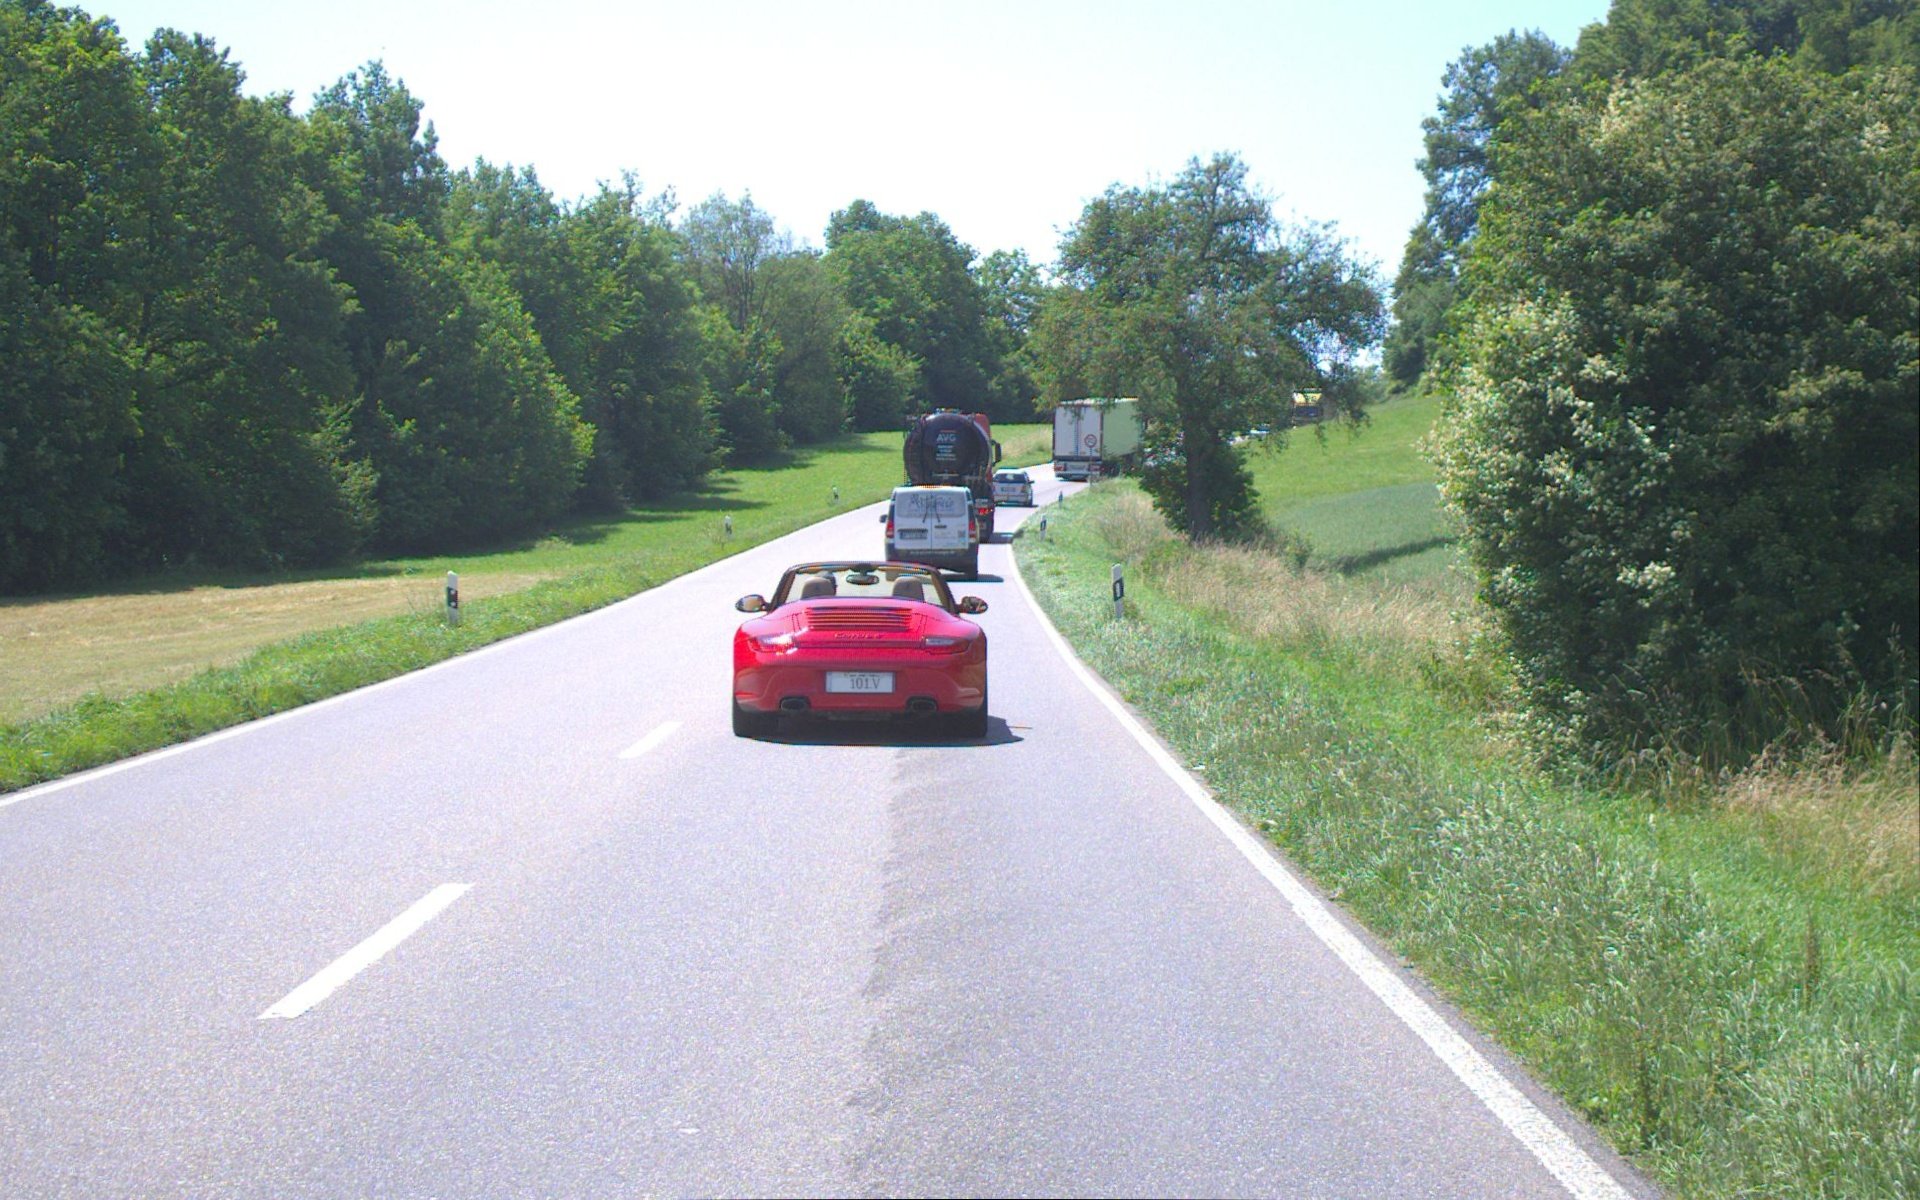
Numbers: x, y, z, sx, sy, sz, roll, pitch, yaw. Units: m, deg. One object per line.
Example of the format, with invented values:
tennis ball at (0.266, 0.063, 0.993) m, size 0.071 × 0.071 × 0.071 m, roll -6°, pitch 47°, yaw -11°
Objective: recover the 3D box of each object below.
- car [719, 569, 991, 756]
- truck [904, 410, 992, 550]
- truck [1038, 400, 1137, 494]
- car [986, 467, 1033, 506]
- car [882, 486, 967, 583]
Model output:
car at (-0.743, 0.417, 25.961) m, size 1.882 × 1.251 × 4.010 m, roll 1°, pitch 1°, yaw 0°
truck at (-0.444, -3.717, 106.828) m, size 2.404 × 4.035 × 12.552 m, roll -2°, pitch 2°, yaw -1°
truck at (6.841, -8.190, 182.241) m, size 3.727 × 4.643 × 12.028 m, roll 0°, pitch 4°, yaw 10°
car at (2.132, -4.853, 147.158) m, size 1.831 × 1.508 × 4.191 m, roll 0°, pitch 4°, yaw 4°
car at (-0.721, -1.380, 70.553) m, size 1.678 × 1.894 × 4.010 m, roll 0°, pitch 2°, yaw 0°
